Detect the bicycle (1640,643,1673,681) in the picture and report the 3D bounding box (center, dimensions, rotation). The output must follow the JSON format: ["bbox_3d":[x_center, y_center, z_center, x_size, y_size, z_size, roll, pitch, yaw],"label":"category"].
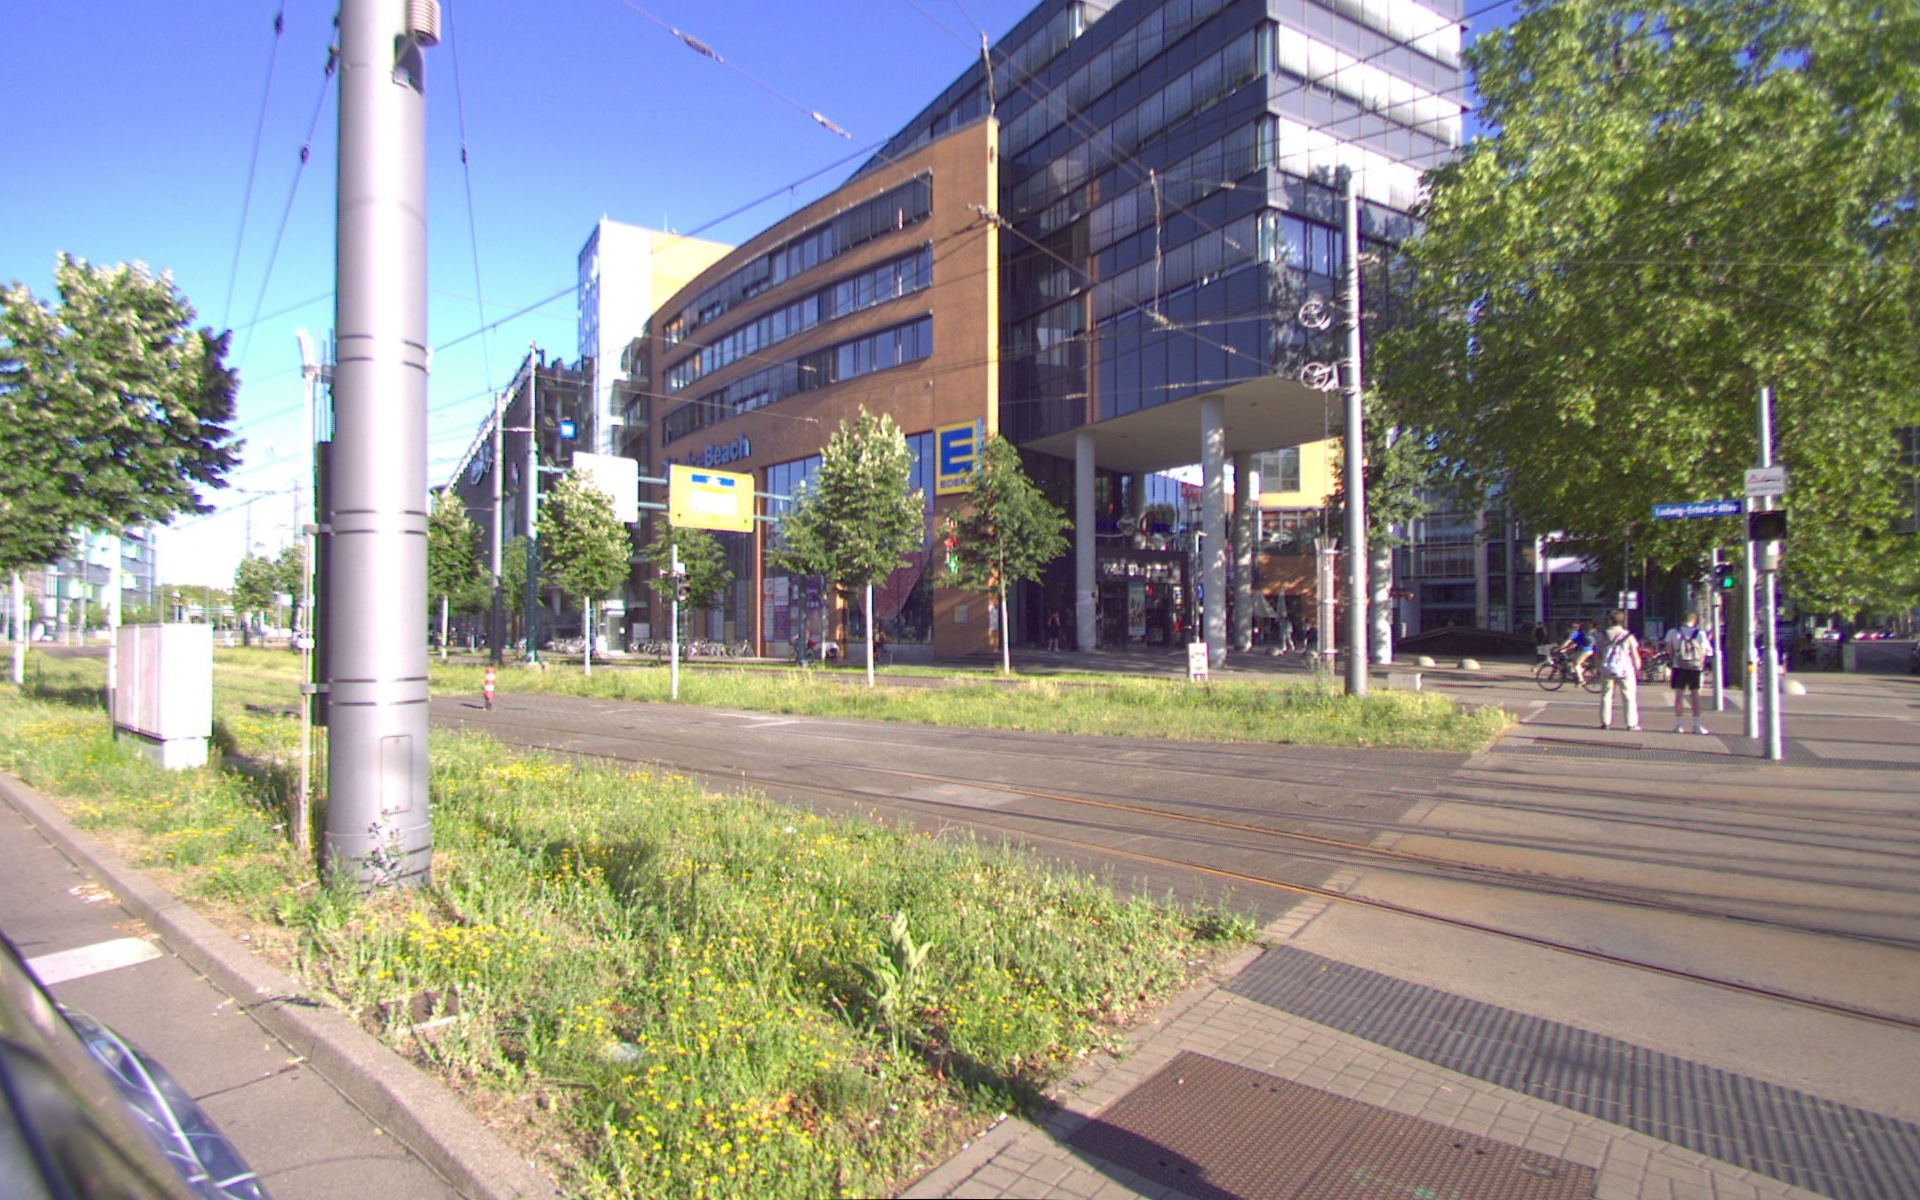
[{"bbox_3d":[22.179,1.950,32.194,0.598,1.137,2.335,-3,-3,40],"label":"bicycle"}]

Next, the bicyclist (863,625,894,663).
[{"bbox_3d":[-3.401,1.817,42.040,0.939,1.560,0.883,-3,-4,42],"label":"bicyclist"}]

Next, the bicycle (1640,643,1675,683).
[{"bbox_3d":[20.785,1.854,30.147,0.598,1.137,2.335,-3,-3,40],"label":"bicycle"}]

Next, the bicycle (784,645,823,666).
[{"bbox_3d":[-7.493,2.623,48.351,2.066,0.957,0.682,-2,-2,41],"label":"bicycle"}]

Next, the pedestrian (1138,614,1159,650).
[{"bbox_3d":[9.098,1.528,48.845,0.699,1.718,0.724,-2,-3,41],"label":"pedestrian"}]

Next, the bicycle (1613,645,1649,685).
[{"bbox_3d":[20.330,1.950,30.636,0.598,1.137,2.335,-3,-3,40],"label":"bicycle"}]

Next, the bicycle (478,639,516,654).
[{"bbox_3d":[-37.721,3.760,82.416,2.648,1.198,0.897,1,-3,-38],"label":"bicycle"}]

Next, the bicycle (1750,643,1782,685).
[{"bbox_3d":[22.932,1.803,28.793,0.598,1.137,2.335,-3,-3,40],"label":"bicycle"}]

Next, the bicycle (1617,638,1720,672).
[{"bbox_3d":[29.416,2.268,42.101,3.344,1.364,1.026,-1,-2,26],"label":"bicycle"}]

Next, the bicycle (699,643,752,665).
[{"bbox_3d":[-12.564,2.869,54.207,2.648,1.112,0.897,1,-3,-38],"label":"bicycle"}]

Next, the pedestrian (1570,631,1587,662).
[{"bbox_3d":[34.752,2.626,56.842,0.698,1.727,0.724,-2,-2,39],"label":"pedestrian"}]

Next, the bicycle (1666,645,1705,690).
[{"bbox_3d":[19.728,1.817,27.503,0.599,1.137,2.334,-3,-3,41],"label":"bicycle"}]

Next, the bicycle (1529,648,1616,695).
[{"bbox_3d":[15.974,1.845,26.424,1.850,1.145,0.684,-2,-3,42],"label":"bicycle"}]

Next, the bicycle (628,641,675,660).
[{"bbox_3d":[-19.266,3.158,63.218,2.648,1.112,0.897,1,-3,-38],"label":"bicycle"}]

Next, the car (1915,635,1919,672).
[{"bbox_3d":[38.120,2.082,38.994,1.670,1.417,3.945,-2,-3,41],"label":"car"}]

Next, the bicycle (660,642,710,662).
[{"bbox_3d":[-15.988,3.002,58.813,2.648,1.112,0.897,1,-3,-38],"label":"bicycle"}]

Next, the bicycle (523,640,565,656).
[{"bbox_3d":[-30.341,3.501,73.820,2.648,1.112,0.897,1,-3,-38],"label":"bicycle"}]

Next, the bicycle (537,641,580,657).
[{"bbox_3d":[-28.118,3.430,70.913,2.648,1.112,0.897,1,-3,-38],"label":"bicycle"}]

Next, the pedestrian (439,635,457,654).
[{"bbox_3d":[-46.115,3.963,91.229,1.093,1.694,1.059,-2,-2,35],"label":"pedestrian"}]

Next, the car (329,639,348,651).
[{"bbox_3d":[-81.792,5.961,133.123,1.599,1.539,4.369,2,-3,-25],"label":"car"}]

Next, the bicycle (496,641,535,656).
[{"bbox_3d":[-34.224,3.701,77.948,2.648,1.112,0.897,1,-3,-38],"label":"bicycle"}]

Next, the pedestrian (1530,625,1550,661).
[{"bbox_3d":[26.940,1.999,47.003,0.698,1.665,0.696,-2,-2,39],"label":"pedestrian"}]

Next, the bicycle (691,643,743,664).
[{"bbox_3d":[-13.208,2.914,55.033,2.648,1.112,0.897,1,-3,-38],"label":"bicycle"}]

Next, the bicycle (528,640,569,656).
[{"bbox_3d":[-29.735,3.480,73.130,2.648,1.112,0.827,1,-3,-38],"label":"bicycle"}]

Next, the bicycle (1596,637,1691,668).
[{"bbox_3d":[30.366,2.327,45.021,3.344,1.364,1.026,-1,-2,26],"label":"bicycle"}]

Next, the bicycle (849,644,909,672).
[{"bbox_3d":[-3.388,2.415,42.004,2.691,1.112,0.883,-3,-3,43],"label":"bicycle"}]

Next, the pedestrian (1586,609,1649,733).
[{"bbox_3d":[10.304,1.091,15.866,0.699,1.884,0.724,-2,-3,41],"label":"pedestrian"}]

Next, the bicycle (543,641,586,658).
[{"bbox_3d":[-27.059,3.397,69.274,2.648,1.112,0.897,1,-3,-38],"label":"bicycle"}]

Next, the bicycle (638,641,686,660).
[{"bbox_3d":[-17.963,3.058,61.081,2.648,1.112,0.897,1,-3,-38],"label":"bicycle"}]

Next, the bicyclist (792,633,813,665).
[{"bbox_3d":[-7.543,2.333,48.412,0.702,1.541,0.682,-2,-3,41],"label":"bicyclist"}]

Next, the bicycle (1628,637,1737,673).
[{"bbox_3d":[28.661,2.165,40.236,3.344,1.364,1.026,-1,-2,26],"label":"bicycle"}]

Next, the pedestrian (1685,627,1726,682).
[{"bbox_3d":[23.638,1.725,32.095,0.705,1.693,0.832,2,-4,-41],"label":"pedestrian"}]

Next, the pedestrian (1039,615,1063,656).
[{"bbox_3d":[3.875,1.526,43.047,0.699,1.718,0.724,-2,-3,41],"label":"pedestrian"}]

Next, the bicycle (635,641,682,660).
[{"bbox_3d":[-18.550,3.112,62.273,2.648,1.112,0.897,1,-3,-38],"label":"bicycle"}]

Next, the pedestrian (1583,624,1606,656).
[{"bbox_3d":[33.201,2.079,52.967,0.721,1.635,0.701,0,-2,-18],"label":"pedestrian"}]

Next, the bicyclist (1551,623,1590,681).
[{"bbox_3d":[15.958,1.355,26.455,0.754,1.472,0.684,-2,-3,41],"label":"bicyclist"}]

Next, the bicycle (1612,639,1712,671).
[{"bbox_3d":[30.074,2.343,43.454,3.344,1.364,1.026,-1,-2,26],"label":"bicycle"}]

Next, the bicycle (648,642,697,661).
[{"bbox_3d":[-16.946,3.028,59.752,2.648,1.112,0.897,1,-3,-38],"label":"bicycle"}]

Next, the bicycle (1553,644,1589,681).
[{"bbox_3d":[19.532,1.979,32.335,0.598,1.137,2.335,-3,-3,40],"label":"bicycle"}]

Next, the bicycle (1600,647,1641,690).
[{"bbox_3d":[18.560,1.898,28.413,0.599,1.137,2.334,-3,-3,41],"label":"bicycle"}]

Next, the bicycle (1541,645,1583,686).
[{"bbox_3d":[17.745,1.899,29.809,0.599,1.137,2.334,-3,-3,41],"label":"bicycle"}]

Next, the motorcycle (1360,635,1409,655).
[{"bbox_3d":[23.295,2.459,55.586,0.819,1.066,2.347,1,-2,-40],"label":"motorcycle"}]

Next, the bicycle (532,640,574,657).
[{"bbox_3d":[-29.105,3.460,72.368,2.648,1.112,0.897,1,-3,-38],"label":"bicycle"}]

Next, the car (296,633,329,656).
[{"bbox_3d":[-46.449,3.170,72.532,1.601,1.539,4.813,1,-2,-37],"label":"car"}]

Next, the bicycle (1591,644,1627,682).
[{"bbox_3d":[20.221,1.947,31.528,0.598,1.137,2.335,-3,-3,40],"label":"bicycle"}]

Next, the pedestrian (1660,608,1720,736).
[{"bbox_3d":[11.121,1.072,15.417,0.672,1.884,0.724,-2,-3,39],"label":"pedestrian"}]

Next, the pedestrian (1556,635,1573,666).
[{"bbox_3d":[34.222,2.839,57.302,0.698,1.727,0.724,-2,-2,39],"label":"pedestrian"}]
